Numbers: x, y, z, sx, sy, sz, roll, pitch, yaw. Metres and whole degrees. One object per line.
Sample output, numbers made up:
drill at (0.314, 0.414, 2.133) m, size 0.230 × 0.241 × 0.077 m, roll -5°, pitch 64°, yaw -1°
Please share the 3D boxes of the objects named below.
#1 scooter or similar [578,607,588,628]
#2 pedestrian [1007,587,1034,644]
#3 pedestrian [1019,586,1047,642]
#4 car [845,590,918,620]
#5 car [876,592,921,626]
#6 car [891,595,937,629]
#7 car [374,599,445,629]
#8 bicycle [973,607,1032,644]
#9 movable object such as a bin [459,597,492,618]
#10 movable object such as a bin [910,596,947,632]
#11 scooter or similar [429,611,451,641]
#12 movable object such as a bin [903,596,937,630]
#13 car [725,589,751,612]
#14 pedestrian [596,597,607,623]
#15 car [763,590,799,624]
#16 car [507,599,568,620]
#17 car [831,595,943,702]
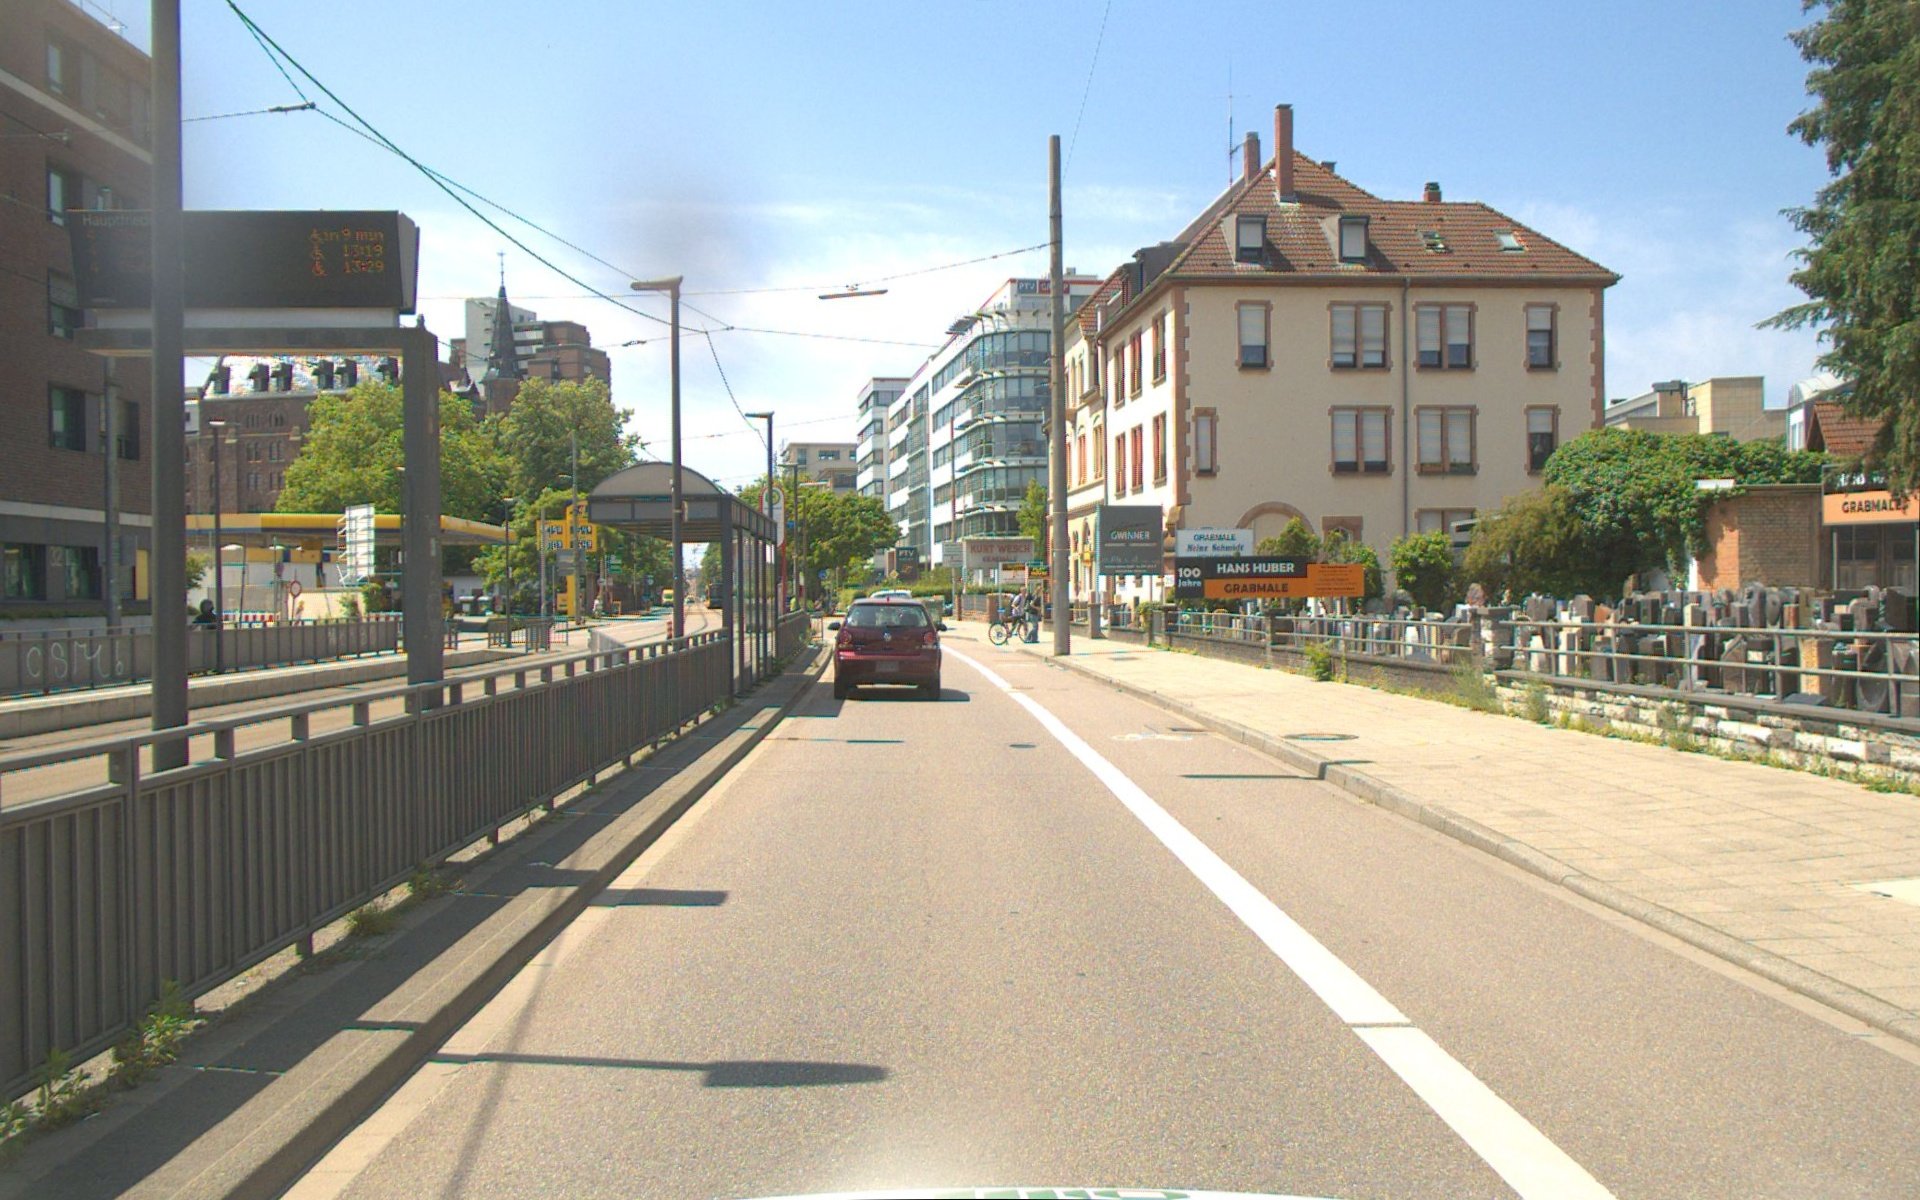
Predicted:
scooter or similar at (-22.415, 1.046, 98.298) m, size 0.509 × 1.221 × 1.372 m, roll 0°, pitch 0°, yaw -12°
pedestrian at (1.920, 0.488, 52.744) m, size 0.674 × 1.803 × 0.502 m, roll -1°, pitch 0°, yaw 28°
pedestrian at (2.263, 0.436, 51.256) m, size 0.806 × 1.720 × 0.589 m, roll -1°, pitch 0°, yaw 6°
car at (-5.039, 0.305, 105.955) m, size 4.454 × 1.831 × 1.996 m, roll -1°, pitch 0°, yaw -9°
car at (-3.403, 0.451, 90.484) m, size 1.888 × 1.722 × 5.072 m, roll -3°, pitch 0°, yaw -8°
car at (-2.357, 0.598, 84.198) m, size 1.740 × 1.575 × 4.458 m, roll -3°, pitch 0°, yaw -9°
car at (-30.408, 0.756, 91.503) m, size 1.787 × 1.531 × 4.203 m, roll 1°, pitch 2°, yaw 14°
bicycle at (1.361, 0.807, 52.510) m, size 1.765 × 1.147 × 0.590 m, roll -1°, pitch 0°, yaw 23°
movable object such as a bin at (-35.949, 0.564, 122.823) m, size 1.488 × 1.536 × 2.101 m, roll 0°, pitch 0°, yaw 15°
movable object such as a bin at (-1.413, 0.598, 72.914) m, size 1.368 × 1.480 × 1.135 m, roll -3°, pitch 0°, yaw -13°
scooter or similar at (-23.179, 1.161, 73.716) m, size 0.337 × 1.286 × 1.243 m, roll 0°, pitch 0°, yaw 15°
movable object such as a bin at (-1.813, 0.587, 75.055) m, size 1.301 × 1.480 × 1.054 m, roll -3°, pitch 0°, yaw -13°
car at (-17.854, 0.020, 133.119) m, size 1.957 × 1.769 × 3.992 m, roll -1°, pitch 0°, yaw -9°
pedestrian at (-24.188, 0.667, 111.554) m, size 0.616 × 1.720 × 0.717 m, roll -1°, pitch 0°, yaw -23°
car at (-11.237, 0.435, 103.506) m, size 1.957 × 2.049 × 3.990 m, roll 0°, pitch 0°, yaw -10°
car at (-31.605, 0.703, 123.775) m, size 1.893 × 1.514 × 4.442 m, roll 0°, pitch 0°, yaw 30°
car at (-1.087, 0.685, 25.637) m, size 1.586 × 1.512 × 3.999 m, roll 0°, pitch 0°, yaw -1°
